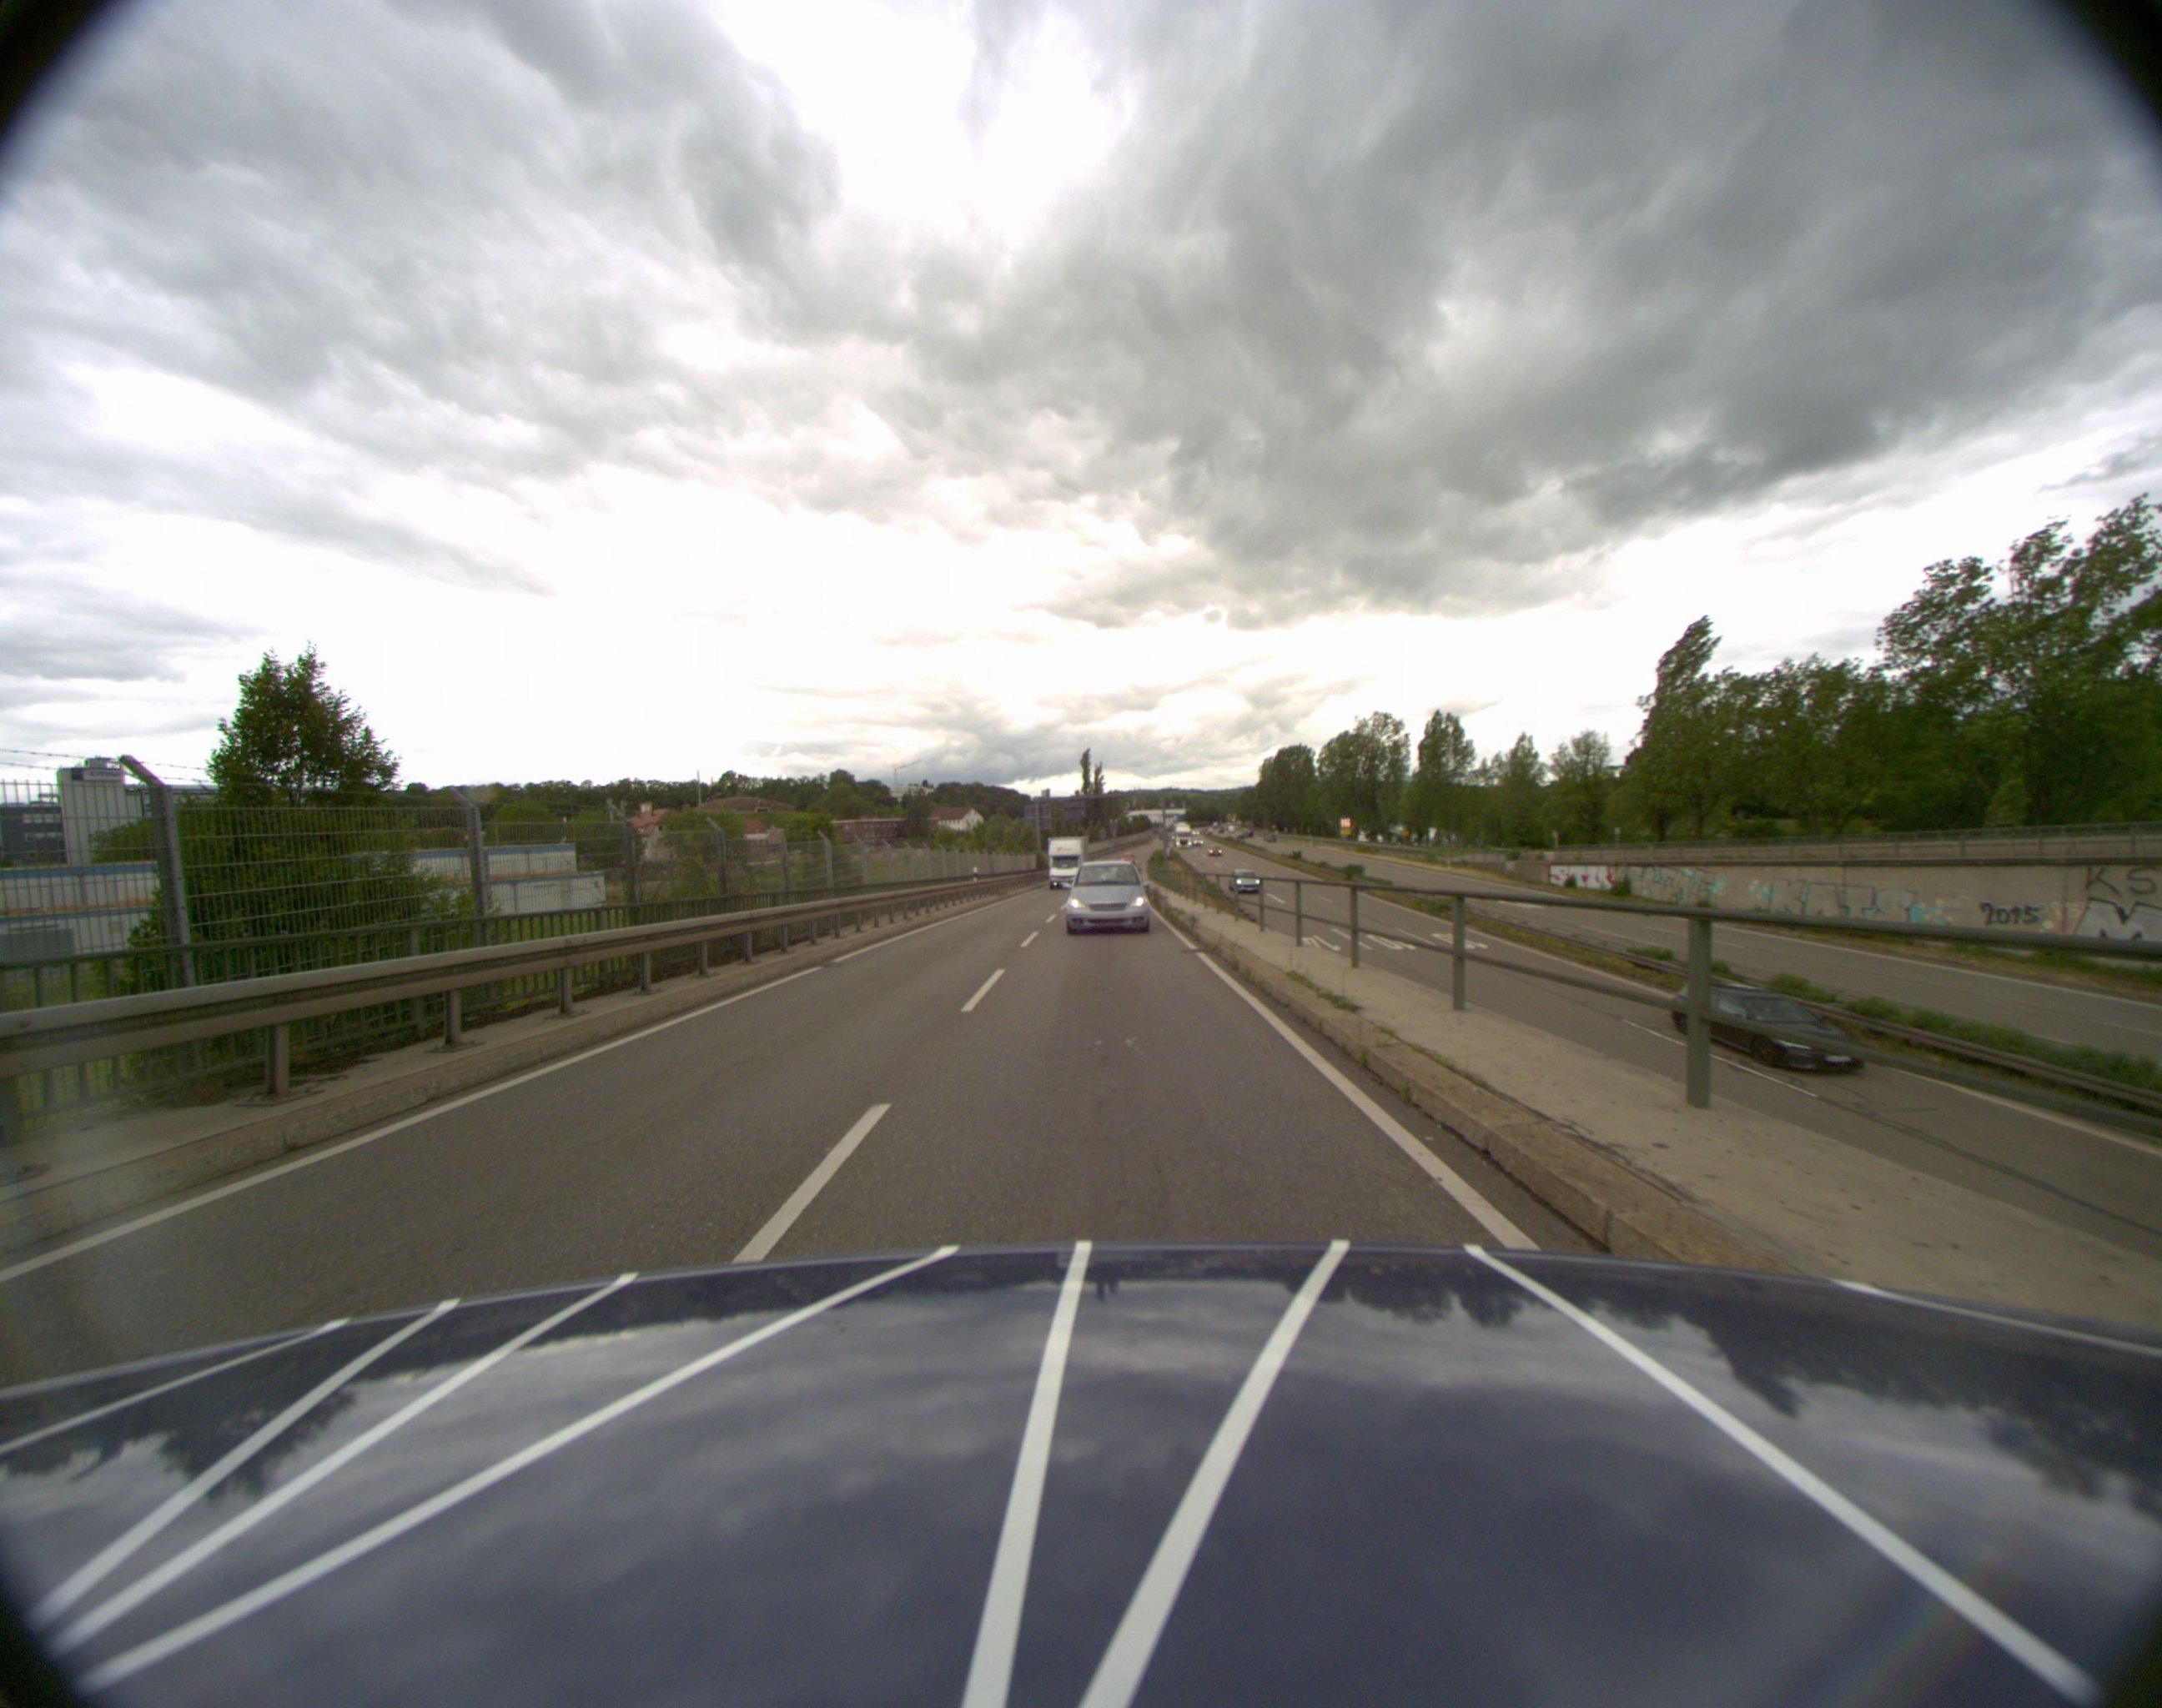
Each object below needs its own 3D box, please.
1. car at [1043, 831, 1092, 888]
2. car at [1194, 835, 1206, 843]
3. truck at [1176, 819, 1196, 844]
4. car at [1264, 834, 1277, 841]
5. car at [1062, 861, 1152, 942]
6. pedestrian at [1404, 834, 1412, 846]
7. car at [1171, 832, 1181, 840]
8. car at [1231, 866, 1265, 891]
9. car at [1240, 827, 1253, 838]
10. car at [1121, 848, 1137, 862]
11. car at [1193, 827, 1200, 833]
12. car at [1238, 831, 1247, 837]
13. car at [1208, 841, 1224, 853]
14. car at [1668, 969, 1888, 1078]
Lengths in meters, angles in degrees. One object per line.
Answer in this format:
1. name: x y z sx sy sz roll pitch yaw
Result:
1. car: -0.751 0.270 49.365 2.665 3.310 7.090 -2 1 2
2. car: 23.032 -2.951 147.526 1.919 1.411 4.275 -2 4 4
3. truck: 18.760 -4.057 136.238 2.758 4.229 6.695 -1 3 2
4. car: 39.892 -3.411 159.955 1.715 1.368 4.109 0 3 2
5. car: 0.617 0.993 17.525 1.780 1.578 4.001 -2 0 2
6. pedestrian: 51.523 -2.193 119.722 0.831 1.696 1.077 -2 4 3
7. car: 22.746 -4.294 181.698 1.858 1.598 4.164 -2 3 2
8. car: 12.984 1.864 59.339 1.844 1.789 4.280 -2 0 3
9. car: 43.574 -5.673 199.691 2.249 2.533 6.112 -1 3 2
10. car: 5.793 0.149 91.403 1.780 1.578 4.001 -2 0 4
11. car: 36.860 -7.625 242.217 1.858 1.598 4.165 0 3 5
12. car: 39.222 -4.869 184.508 1.668 1.493 3.857 -1 3 3
13. car: 19.454 -0.979 109.492 1.756 1.433 4.163 -2 4 4
14. car: 17.187 4.111 19.082 1.753 1.561 4.218 -2 3 3
